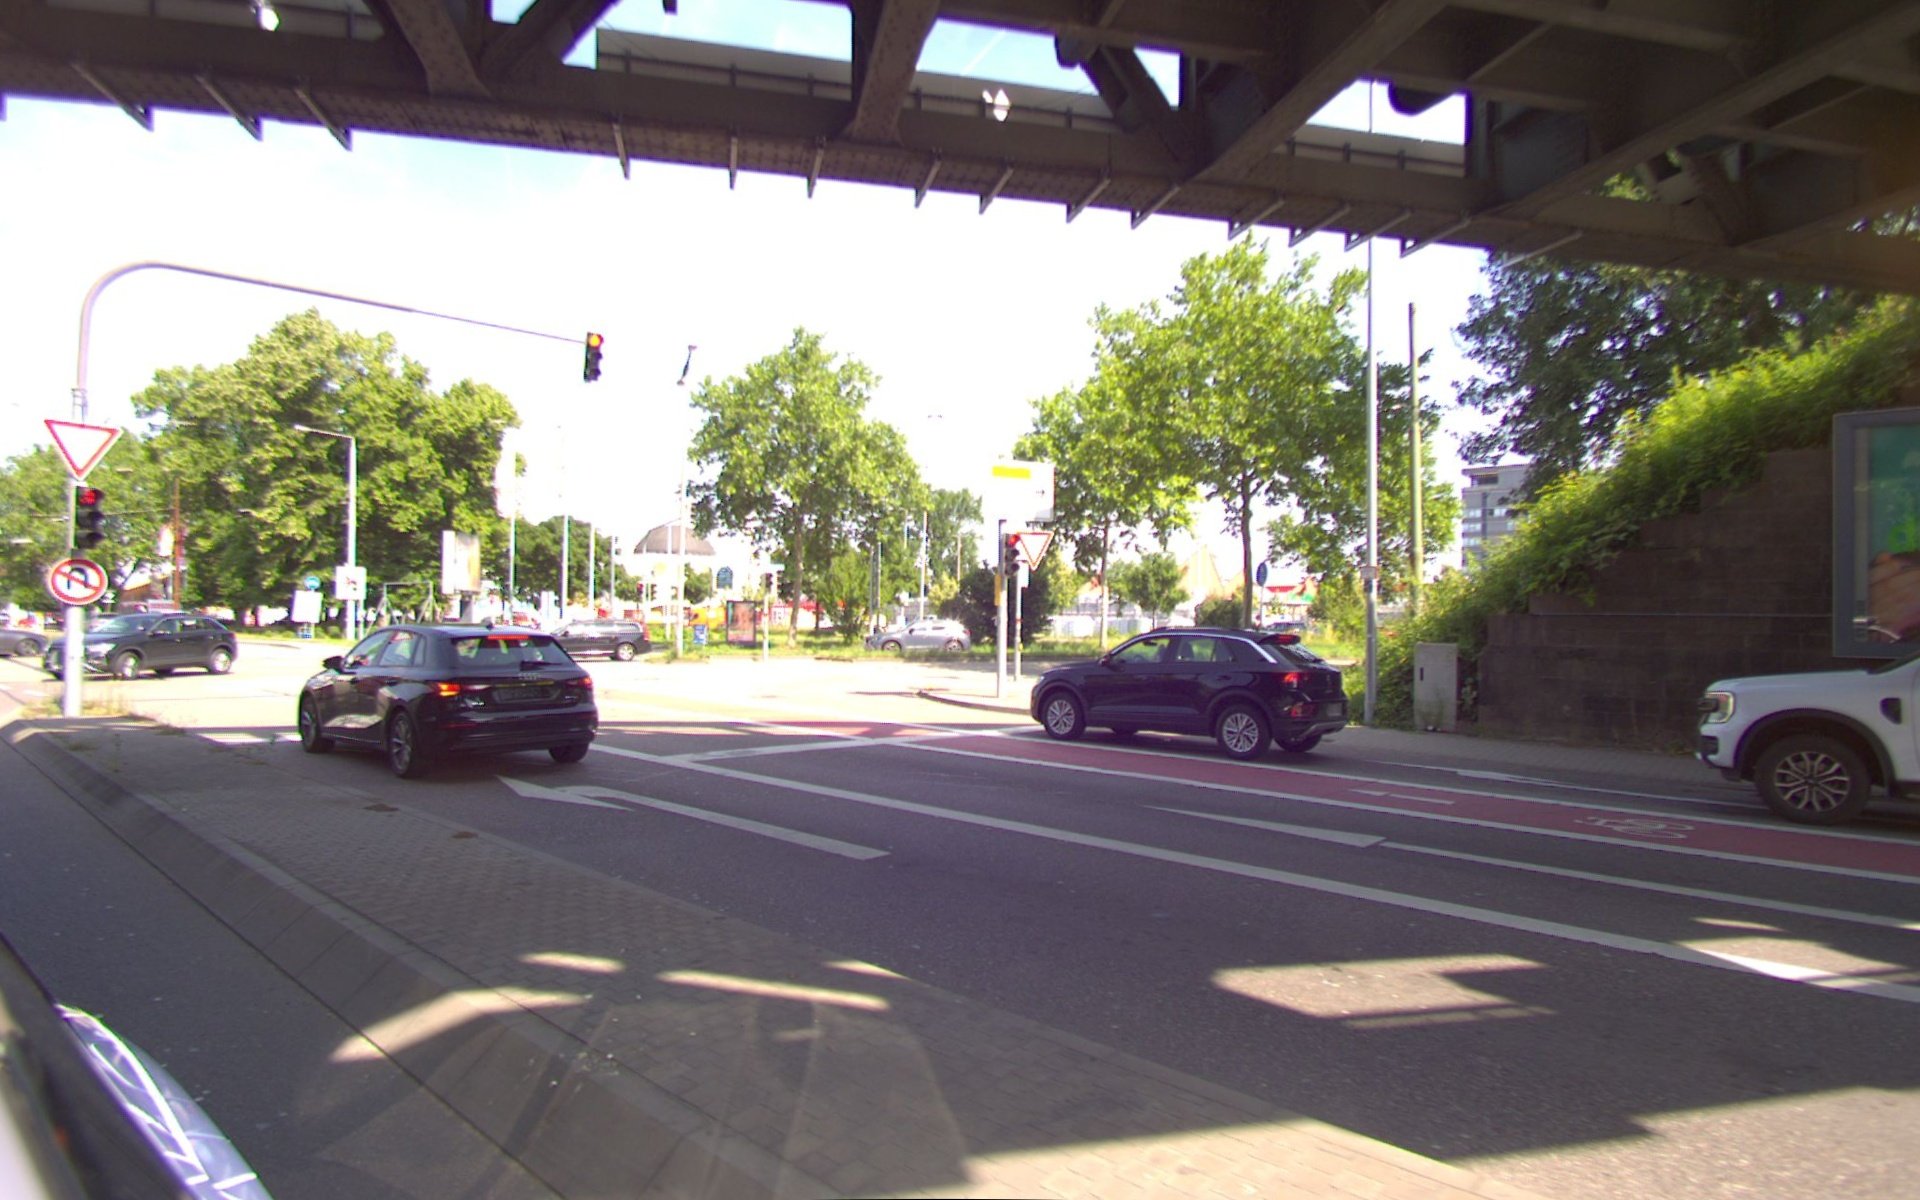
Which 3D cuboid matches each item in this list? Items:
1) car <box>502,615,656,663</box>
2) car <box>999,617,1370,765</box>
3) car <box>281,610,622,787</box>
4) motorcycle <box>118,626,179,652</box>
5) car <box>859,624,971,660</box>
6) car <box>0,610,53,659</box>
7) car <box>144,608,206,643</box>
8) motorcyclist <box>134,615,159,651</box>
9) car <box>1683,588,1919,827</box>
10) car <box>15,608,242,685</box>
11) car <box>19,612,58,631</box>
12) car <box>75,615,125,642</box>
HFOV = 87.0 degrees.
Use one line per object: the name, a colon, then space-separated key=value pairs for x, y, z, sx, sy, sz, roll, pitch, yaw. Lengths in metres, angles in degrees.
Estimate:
car: x=-13.362 y=1.368 z=35.597 sx=4.841 sy=1.585 sz=1.709 roll=2 pitch=-2 yaw=-29
car: x=2.796 y=1.041 z=13.206 sx=4.385 sy=1.608 sz=1.853 roll=-1 pitch=-2 yaw=41
car: x=-5.399 y=0.867 z=10.512 sx=4.119 sy=1.458 sz=1.762 roll=0 pitch=-2 yaw=42
motorcycle: x=-35.226 y=1.665 z=43.950 sx=0.773 sy=1.091 sz=1.970 roll=-1 pitch=-1 yaw=20
car: x=-1.896 y=1.753 z=42.458 sx=4.385 sy=1.426 sz=1.708 roll=2 pitch=-2 yaw=-14
car: x=-33.824 y=1.143 z=33.975 sx=1.815 sy=1.654 sz=4.635 roll=0 pitch=-2 yaw=25
car: x=-40.966 y=1.289 z=52.812 sx=3.633 sy=1.734 sz=1.801 roll=-1 pitch=0 yaw=39
motorcyclist: x=-35.230 y=1.422 z=43.829 sx=0.628 sy=1.540 sz=0.637 roll=-1 pitch=-1 yaw=21
car: x=9.085 y=0.890 z=7.899 sx=5.448 sy=1.875 sz=1.972 roll=-1 pitch=-4 yaw=41
car: x=-19.775 y=1.050 z=24.330 sx=1.804 sy=1.654 sz=4.102 roll=-1 pitch=0 yaw=8
car: x=-77.756 y=1.823 z=85.410 sx=3.821 sy=1.527 sz=1.903 roll=-1 pitch=0 yaw=39
car: x=-58.285 y=1.888 z=68.568 sx=3.821 sy=1.734 sz=1.903 roll=-1 pitch=0 yaw=39
